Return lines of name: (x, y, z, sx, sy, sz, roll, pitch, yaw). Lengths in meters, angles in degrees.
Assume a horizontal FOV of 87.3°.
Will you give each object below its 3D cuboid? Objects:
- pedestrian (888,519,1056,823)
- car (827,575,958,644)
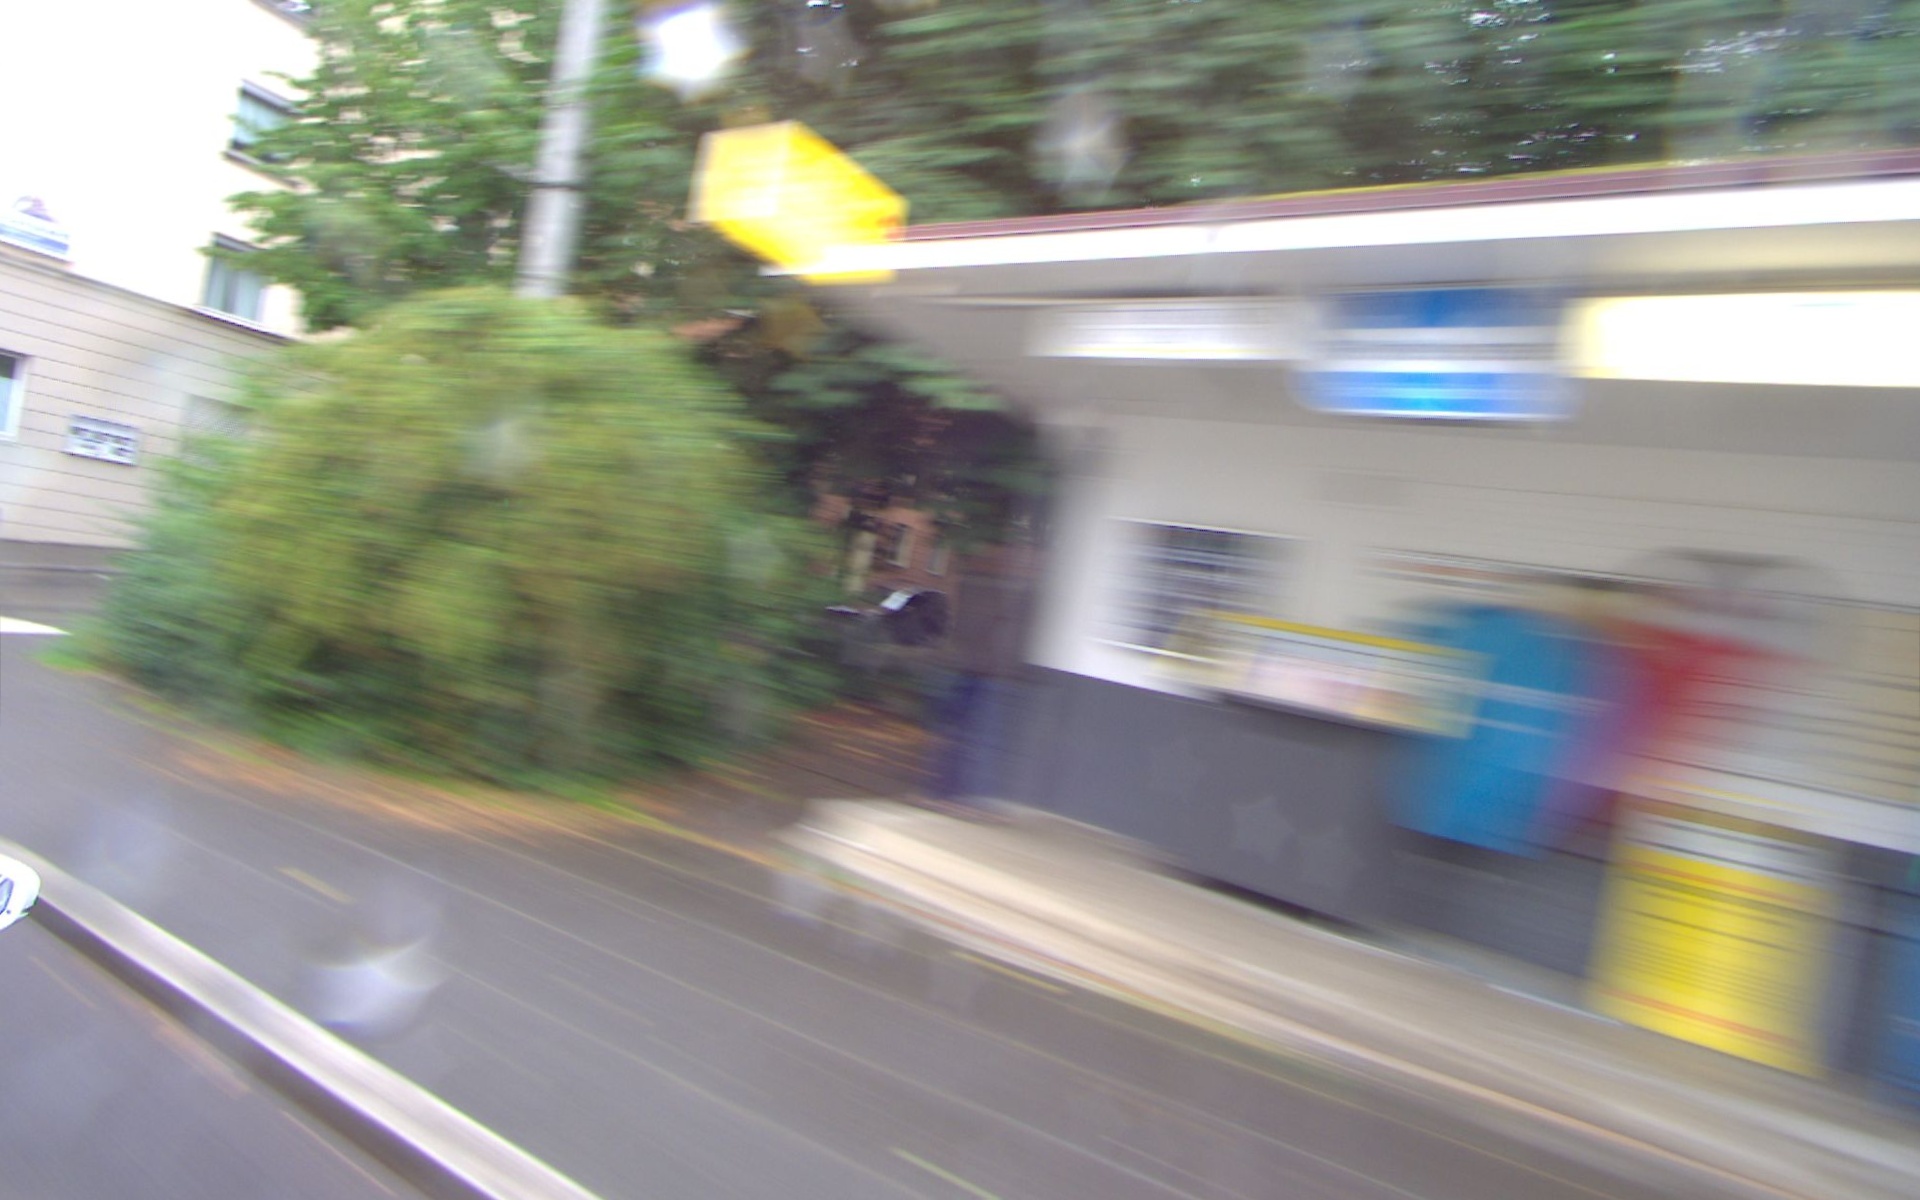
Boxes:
pedestrian: (0.086, 0.435, 6.327, 0.604, 1.765, 0.603, 7, -2, 33)
car: (-2.008, 0.343, 31.254, 1.835, 1.710, 4.319, 6, 0, 30)
